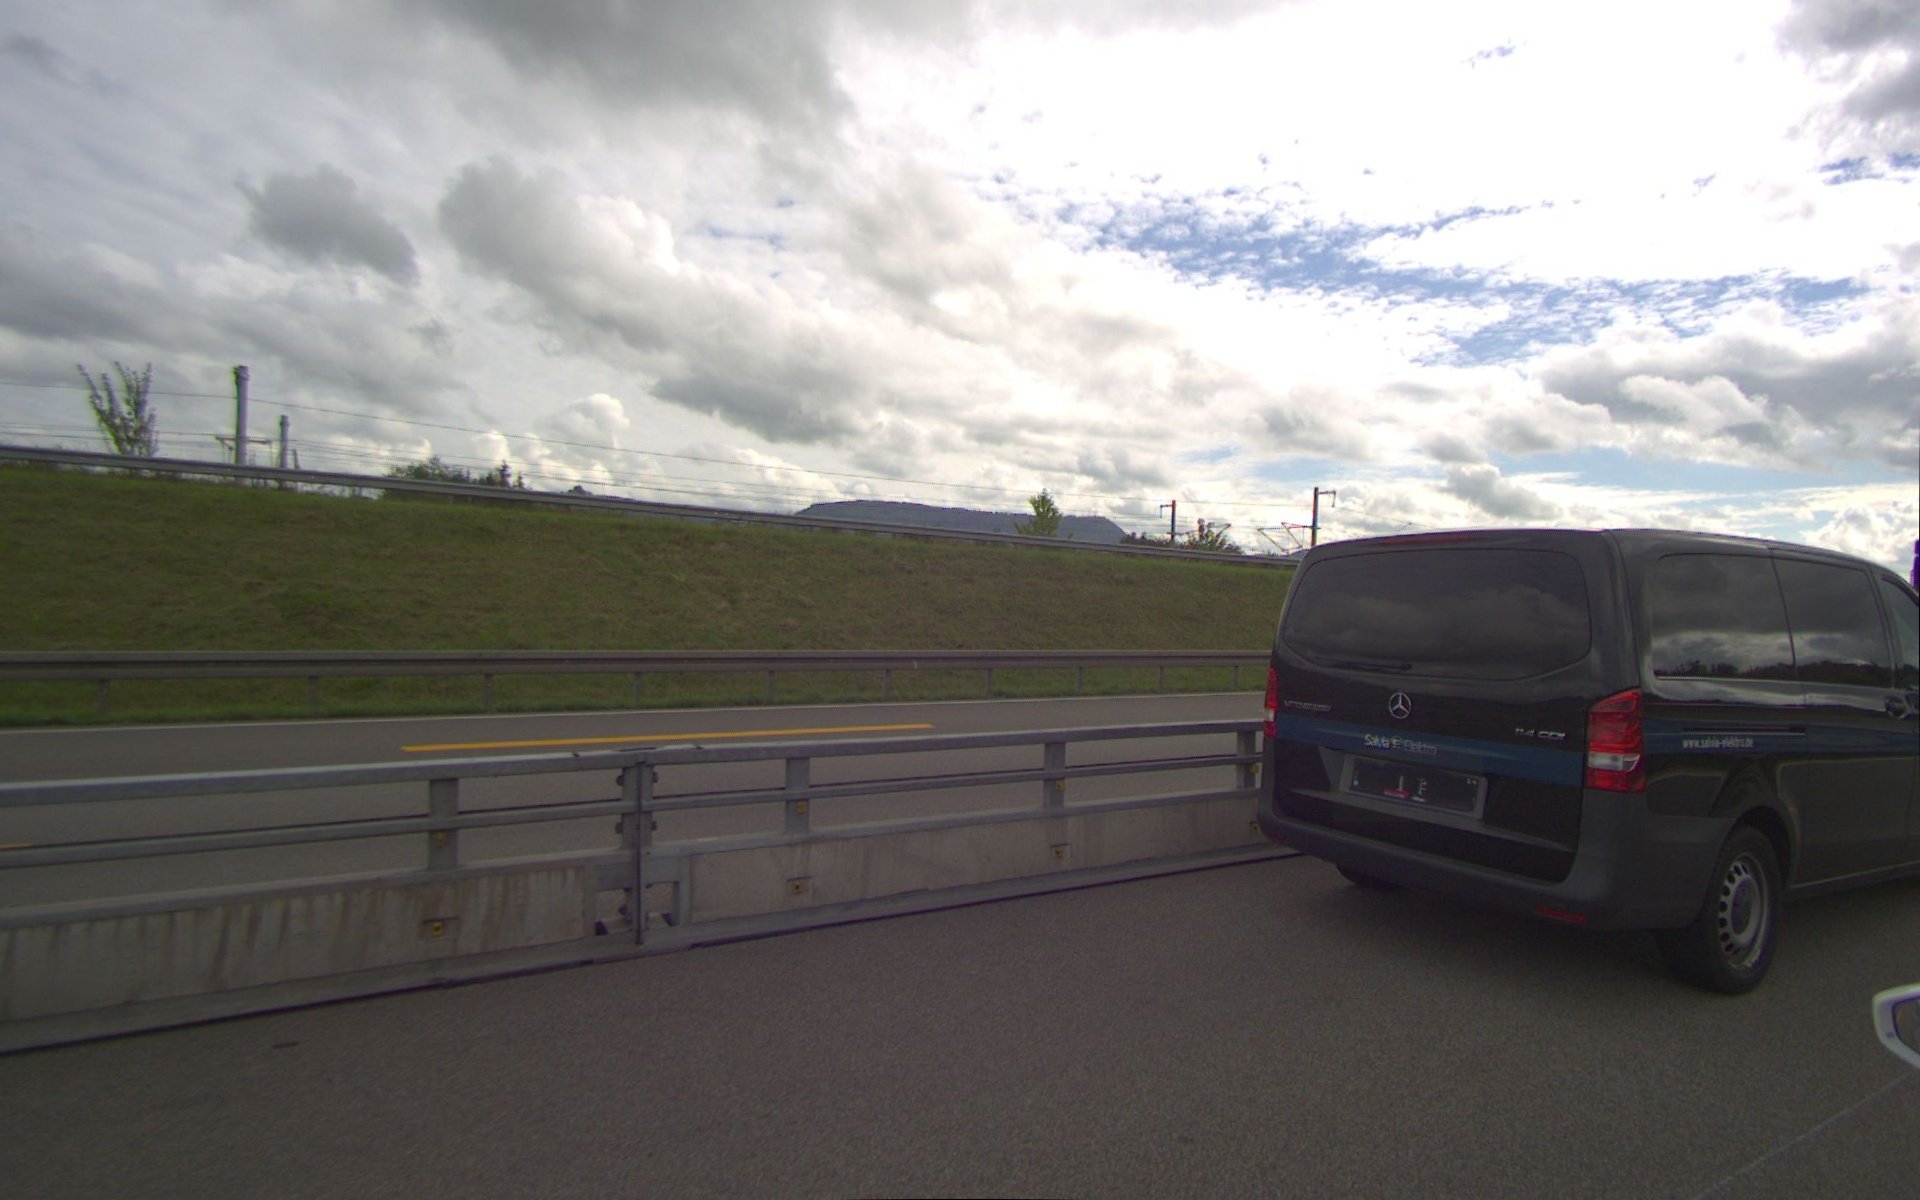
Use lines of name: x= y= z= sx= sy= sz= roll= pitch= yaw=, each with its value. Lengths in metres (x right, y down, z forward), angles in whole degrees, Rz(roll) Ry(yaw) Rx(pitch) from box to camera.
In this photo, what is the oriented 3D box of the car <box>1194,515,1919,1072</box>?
car: x=4.077 y=0.725 z=5.646 sx=5.543 sy=1.867 sz=1.984 roll=2 pitch=-1 yaw=-30
